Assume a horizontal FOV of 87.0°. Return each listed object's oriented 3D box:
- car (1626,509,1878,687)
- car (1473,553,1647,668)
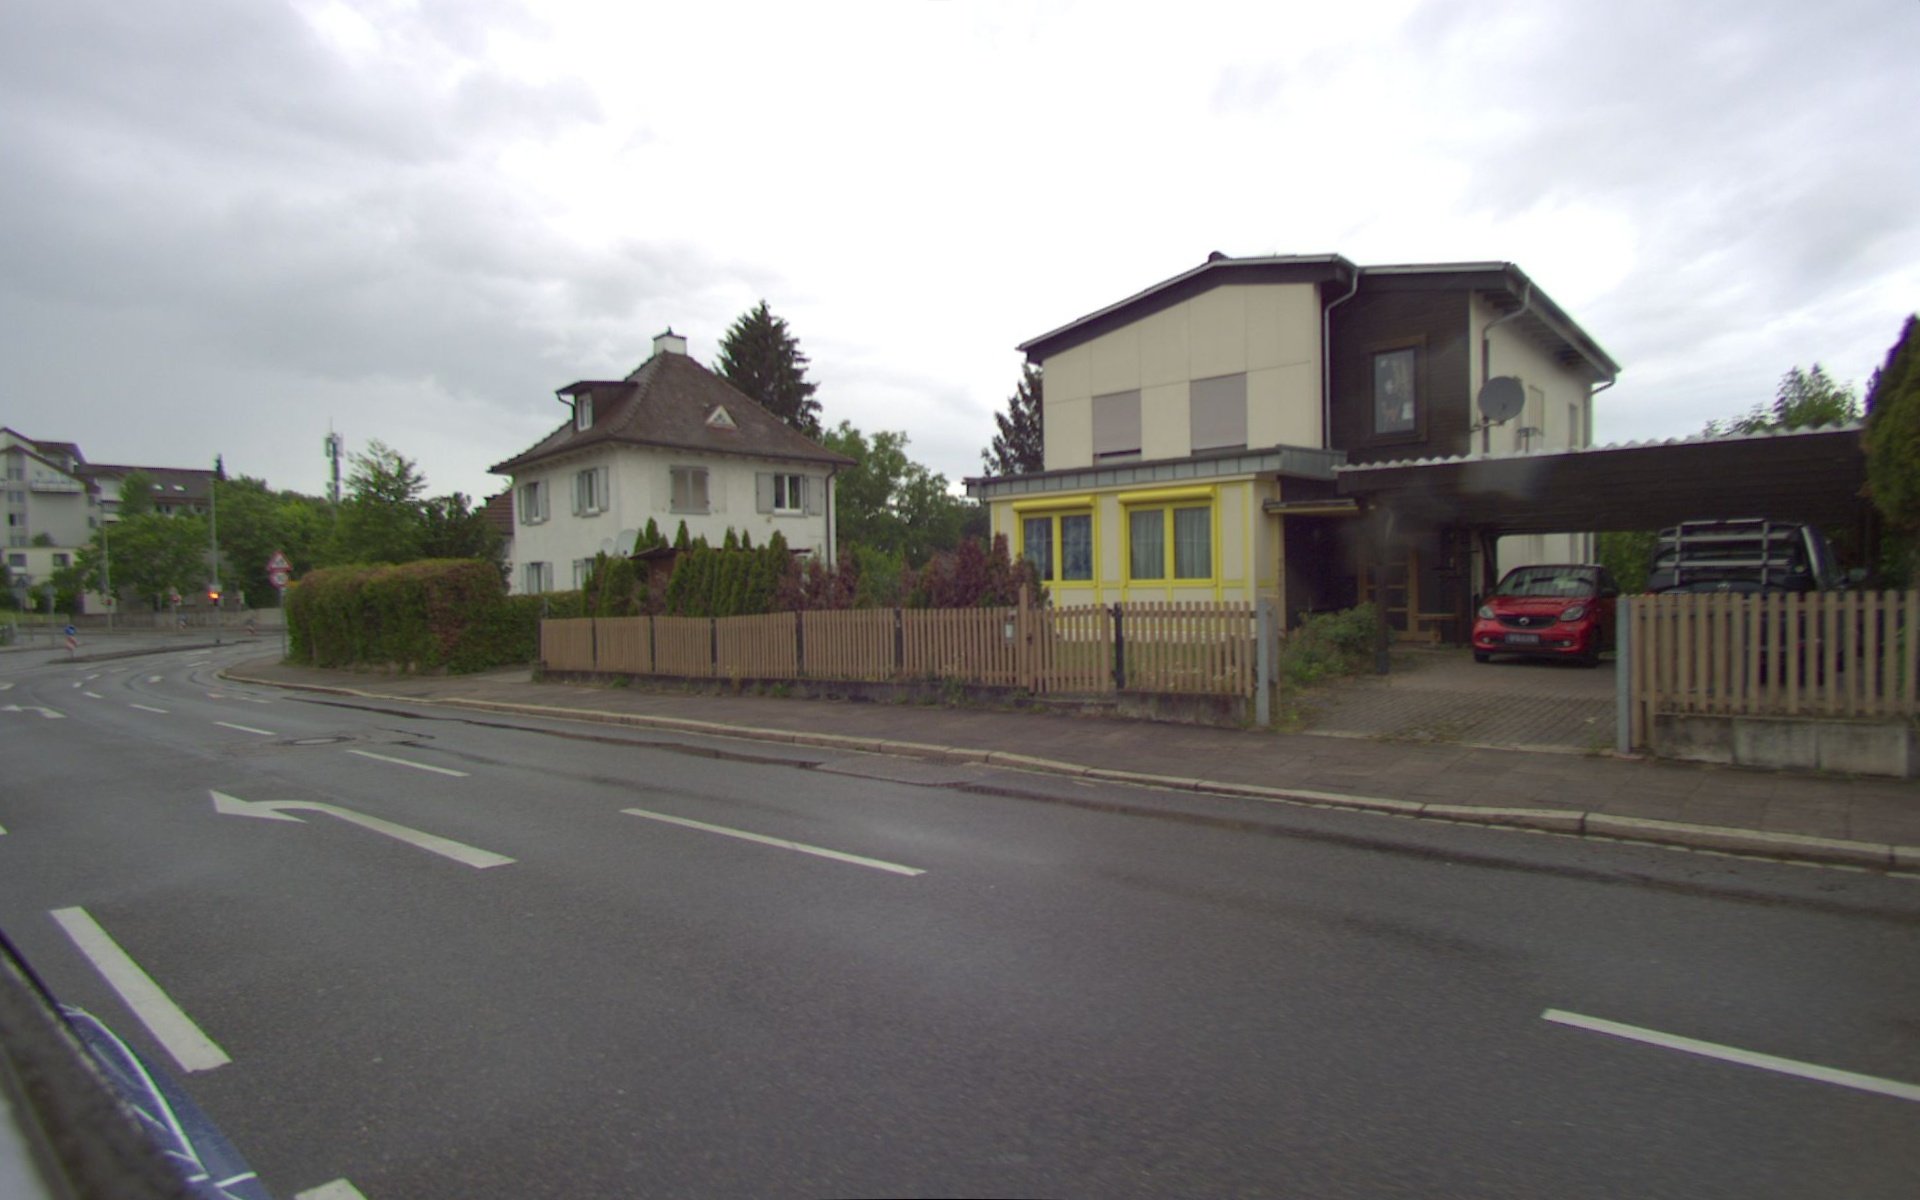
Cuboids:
[{"bbox_3d":[10.450,0.025,13.255,3.940,1.969,2.002,1,-2,-43],"label":"car"},{"bbox_3d":[9.396,0.184,15.775,1.594,1.594,3.143,-2,-2,45],"label":"car"}]
